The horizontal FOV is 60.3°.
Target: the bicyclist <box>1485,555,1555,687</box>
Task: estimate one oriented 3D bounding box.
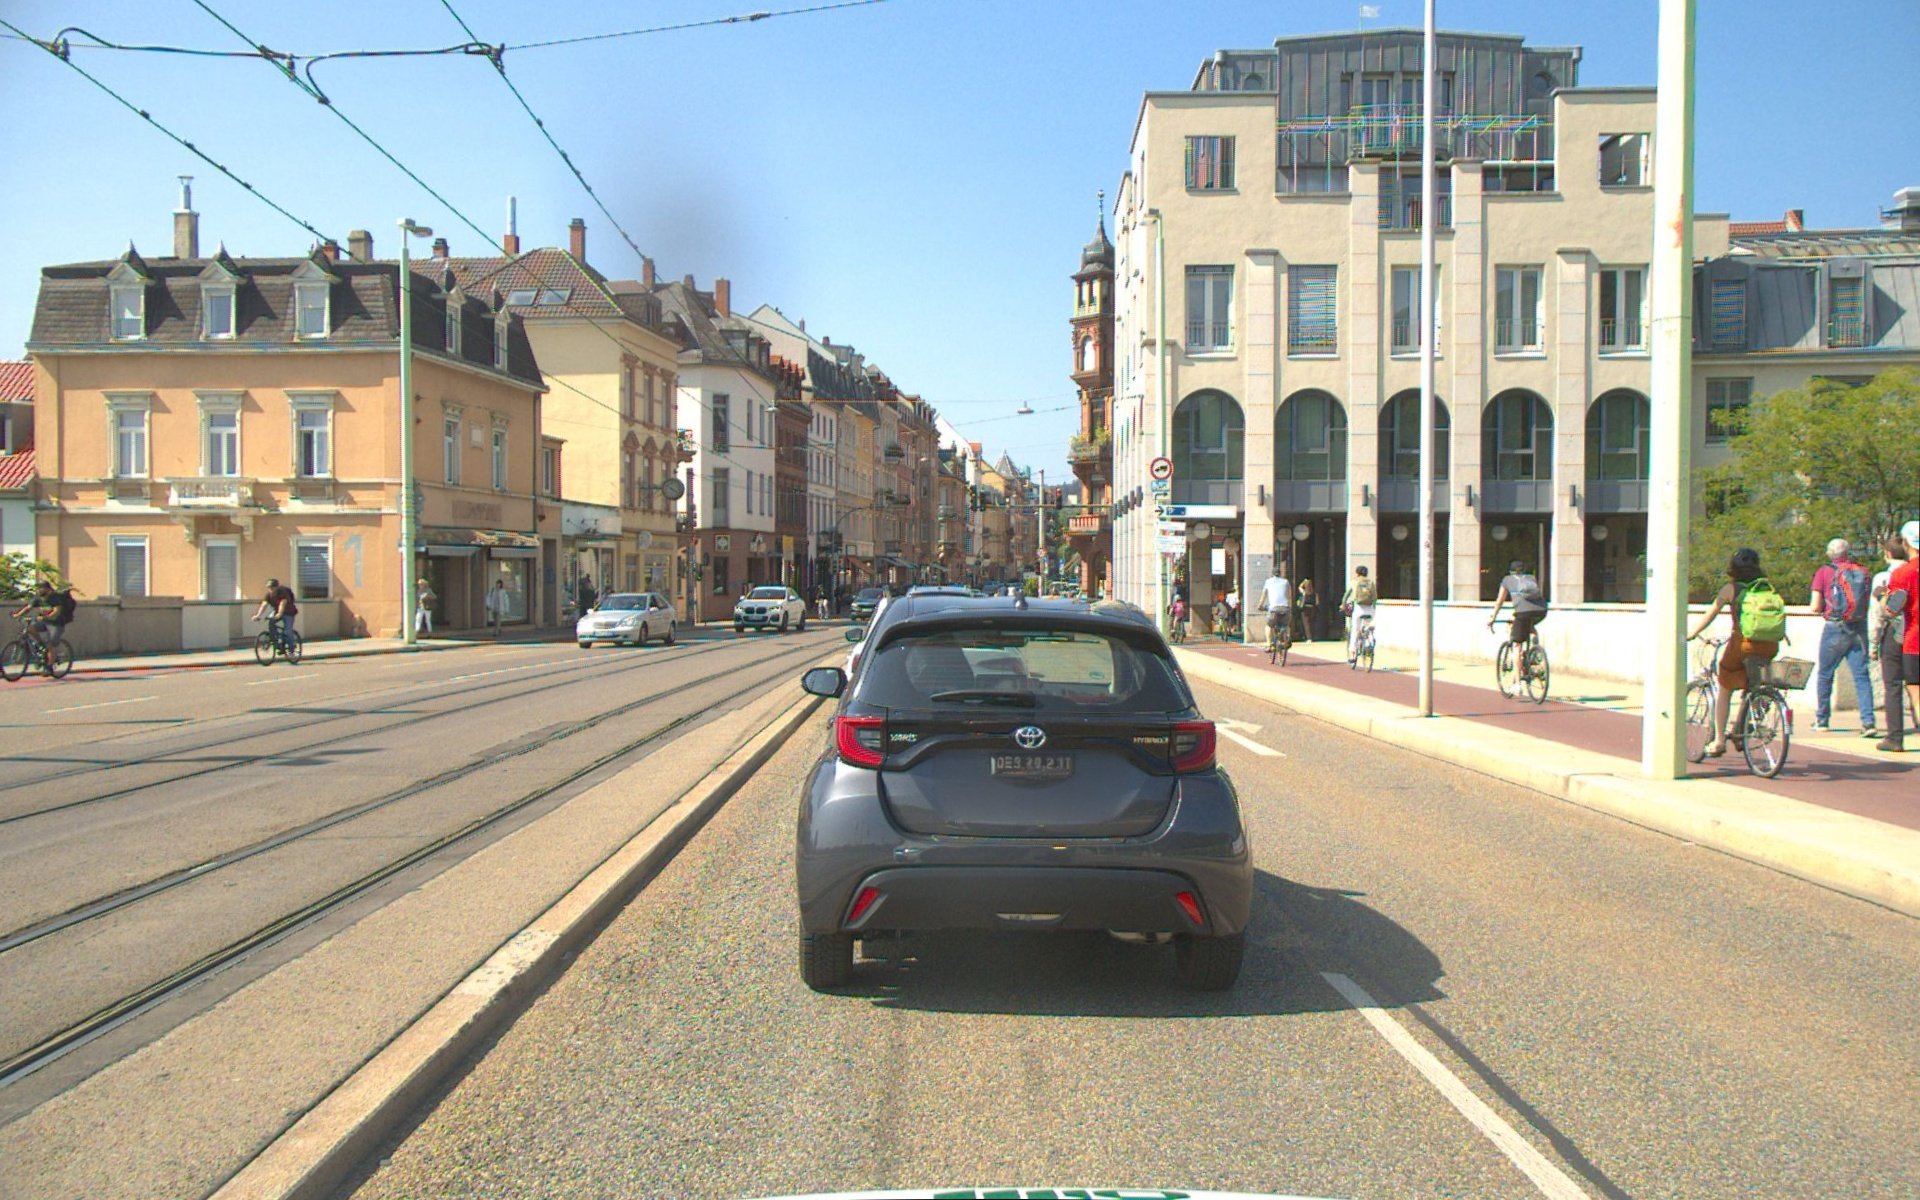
[{"bbox_3d":[6.895,0.255,20.366,0.575,1.586,0.701,-1,0,-3],"label":"bicyclist"}]

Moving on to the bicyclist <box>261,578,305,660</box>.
[{"bbox_3d":[-14.041,0.386,34.292,0.614,1.679,0.622,2,1,0],"label":"bicyclist"}]

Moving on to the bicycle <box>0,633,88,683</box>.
[{"bbox_3d":[-15.540,0.972,28.011,0.608,0.728,1.771,2,1,-1],"label":"bicycle"}]

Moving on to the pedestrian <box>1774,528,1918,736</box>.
[{"bbox_3d":[8.175,0.282,15.301,0.724,1.833,1.015,-2,0,-1],"label":"pedestrian"}]

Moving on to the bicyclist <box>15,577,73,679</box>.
[{"bbox_3d":[-15.528,0.466,28.045,0.614,1.679,0.622,2,1,0],"label":"bicyclist"}]

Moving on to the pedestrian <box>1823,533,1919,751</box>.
[{"bbox_3d":[7.906,0.327,13.852,0.739,1.748,1.073,-2,0,-1],"label":"pedestrian"}]

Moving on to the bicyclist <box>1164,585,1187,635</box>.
[{"bbox_3d":[6.198,0.290,47.504,0.523,1.407,0.669,-2,0,-1],"label":"bicyclist"}]

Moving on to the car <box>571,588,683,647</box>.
[{"bbox_3d":[-8.796,0.445,44.029,1.694,1.486,4.377,0,0,6],"label":"car"}]

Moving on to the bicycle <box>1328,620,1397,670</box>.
[{"bbox_3d":[6.718,0.738,27.682,0.582,0.779,1.865,-1,0,-3],"label":"bicycle"}]

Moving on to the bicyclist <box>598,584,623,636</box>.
[{"bbox_3d":[-11.598,0.322,54.902,0.614,1.679,0.622,2,1,8],"label":"bicyclist"}]

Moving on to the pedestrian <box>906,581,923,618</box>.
[{"bbox_3d":[-3.335,-0.045,120.679,1.030,2.632,1.501,4,0,-1],"label":"pedestrian"}]

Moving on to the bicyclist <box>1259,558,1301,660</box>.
[{"bbox_3d":[5.918,0.165,30.588,0.575,1.852,0.701,-1,0,-3],"label":"bicyclist"}]

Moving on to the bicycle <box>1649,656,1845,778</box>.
[{"bbox_3d":[5.972,0.858,12.664,0.581,0.779,1.866,-1,0,-1],"label":"bicycle"}]

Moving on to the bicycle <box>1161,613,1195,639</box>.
[{"bbox_3d":[6.766,0.808,51.319,0.939,0.779,0.418,-2,0,22],"label":"bicycle"}]

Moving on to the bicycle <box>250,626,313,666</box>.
[{"bbox_3d":[-14.067,0.951,34.340,0.608,0.728,1.731,2,1,-1],"label":"bicycle"}]

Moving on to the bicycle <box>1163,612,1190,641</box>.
[{"bbox_3d":[6.209,0.741,47.520,0.503,0.779,1.660,-2,0,-1],"label":"bicycle"}]

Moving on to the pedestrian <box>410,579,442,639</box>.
[{"bbox_3d":[-15.184,0.262,47.003,0.636,1.629,0.566,4,2,-1],"label":"pedestrian"}]

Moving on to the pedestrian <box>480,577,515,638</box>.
[{"bbox_3d":[-14.266,0.226,51.050,0.721,1.796,0.787,4,0,-1],"label":"pedestrian"}]

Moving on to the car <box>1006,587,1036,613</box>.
[{"bbox_3d":[5.317,0.027,144.540,1.952,2.048,4.003,4,0,10],"label":"car"}]

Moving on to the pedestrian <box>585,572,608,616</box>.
[{"bbox_3d":[-14.163,-0.233,64.455,0.636,1.629,0.566,4,2,-1],"label":"pedestrian"}]

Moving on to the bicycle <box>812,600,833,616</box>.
[{"bbox_3d":[-7.085,0.407,85.192,0.607,0.728,2.047,2,1,8],"label":"bicycle"}]

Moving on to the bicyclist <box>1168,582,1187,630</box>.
[{"bbox_3d":[6.746,0.187,51.324,0.433,1.492,0.485,-2,0,21],"label":"bicyclist"}]

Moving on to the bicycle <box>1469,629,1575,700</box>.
[{"bbox_3d":[6.899,0.773,20.382,0.582,0.779,1.830,-1,0,-3],"label":"bicycle"}]

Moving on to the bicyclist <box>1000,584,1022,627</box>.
[{"bbox_3d":[3.241,0.349,104.220,1.202,2.572,1.105,4,0,2],"label":"bicyclist"}]

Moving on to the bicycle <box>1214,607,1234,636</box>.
[{"bbox_3d":[7.598,0.615,47.625,0.408,0.779,0.961,-2,0,-1],"label":"bicycle"}]

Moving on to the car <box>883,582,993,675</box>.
[{"bbox_3d":[-0.423,0.480,30.649,1.859,1.557,3.999,1,0,-1],"label":"car"}]

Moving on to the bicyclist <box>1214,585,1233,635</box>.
[{"bbox_3d":[7.586,0.290,47.616,0.413,1.407,0.443,-2,0,-1],"label":"bicyclist"}]

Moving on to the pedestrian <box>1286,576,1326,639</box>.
[{"bbox_3d":[9.392,0.191,44.933,0.724,1.642,1.015,4,0,-1],"label":"pedestrian"}]

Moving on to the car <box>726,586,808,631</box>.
[{"bbox_3d":[-7.045,0.290,60.939,1.951,1.614,4.656,0,0,7],"label":"car"}]

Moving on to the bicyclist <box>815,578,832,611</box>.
[{"bbox_3d":[-7.040,-0.288,85.283,0.690,1.679,0.622,2,1,8],"label":"bicyclist"}]

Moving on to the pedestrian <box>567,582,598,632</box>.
[{"bbox_3d":[-13.168,0.242,57.749,0.746,1.682,0.712,4,0,7],"label":"pedestrian"}]

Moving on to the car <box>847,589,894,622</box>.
[{"bbox_3d":[-4.420,0.252,82.176,1.756,1.572,3.923,0,0,6],"label":"car"}]

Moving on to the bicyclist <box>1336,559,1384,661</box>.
[{"bbox_3d":[6.696,0.169,27.724,0.575,1.679,0.701,-1,0,-3],"label":"bicyclist"}]

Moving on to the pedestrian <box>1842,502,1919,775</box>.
[{"bbox_3d":[7.275,0.271,12.296,0.794,1.958,1.127,-1,0,-1],"label":"pedestrian"}]

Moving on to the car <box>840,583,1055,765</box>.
[{"bbox_3d":[-0.155,0.640,16.543,1.859,1.557,3.999,1,0,-1],"label":"car"}]

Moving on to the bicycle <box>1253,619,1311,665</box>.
[{"bbox_3d":[5.929,0.758,30.539,0.582,0.779,1.865,-1,0,-3],"label":"bicycle"}]

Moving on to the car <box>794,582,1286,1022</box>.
[{"bbox_3d":[0.242,0.695,7.586,1.685,1.499,3.657,1,0,-1],"label":"car"}]

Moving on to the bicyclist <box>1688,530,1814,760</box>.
[{"bbox_3d":[5.961,0.330,12.495,0.592,1.679,0.702,-1,0,0],"label":"bicyclist"}]

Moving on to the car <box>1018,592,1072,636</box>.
[{"bbox_3d":[3.096,0.484,60.875,1.671,1.491,4.325,1,0,-1],"label":"car"}]
